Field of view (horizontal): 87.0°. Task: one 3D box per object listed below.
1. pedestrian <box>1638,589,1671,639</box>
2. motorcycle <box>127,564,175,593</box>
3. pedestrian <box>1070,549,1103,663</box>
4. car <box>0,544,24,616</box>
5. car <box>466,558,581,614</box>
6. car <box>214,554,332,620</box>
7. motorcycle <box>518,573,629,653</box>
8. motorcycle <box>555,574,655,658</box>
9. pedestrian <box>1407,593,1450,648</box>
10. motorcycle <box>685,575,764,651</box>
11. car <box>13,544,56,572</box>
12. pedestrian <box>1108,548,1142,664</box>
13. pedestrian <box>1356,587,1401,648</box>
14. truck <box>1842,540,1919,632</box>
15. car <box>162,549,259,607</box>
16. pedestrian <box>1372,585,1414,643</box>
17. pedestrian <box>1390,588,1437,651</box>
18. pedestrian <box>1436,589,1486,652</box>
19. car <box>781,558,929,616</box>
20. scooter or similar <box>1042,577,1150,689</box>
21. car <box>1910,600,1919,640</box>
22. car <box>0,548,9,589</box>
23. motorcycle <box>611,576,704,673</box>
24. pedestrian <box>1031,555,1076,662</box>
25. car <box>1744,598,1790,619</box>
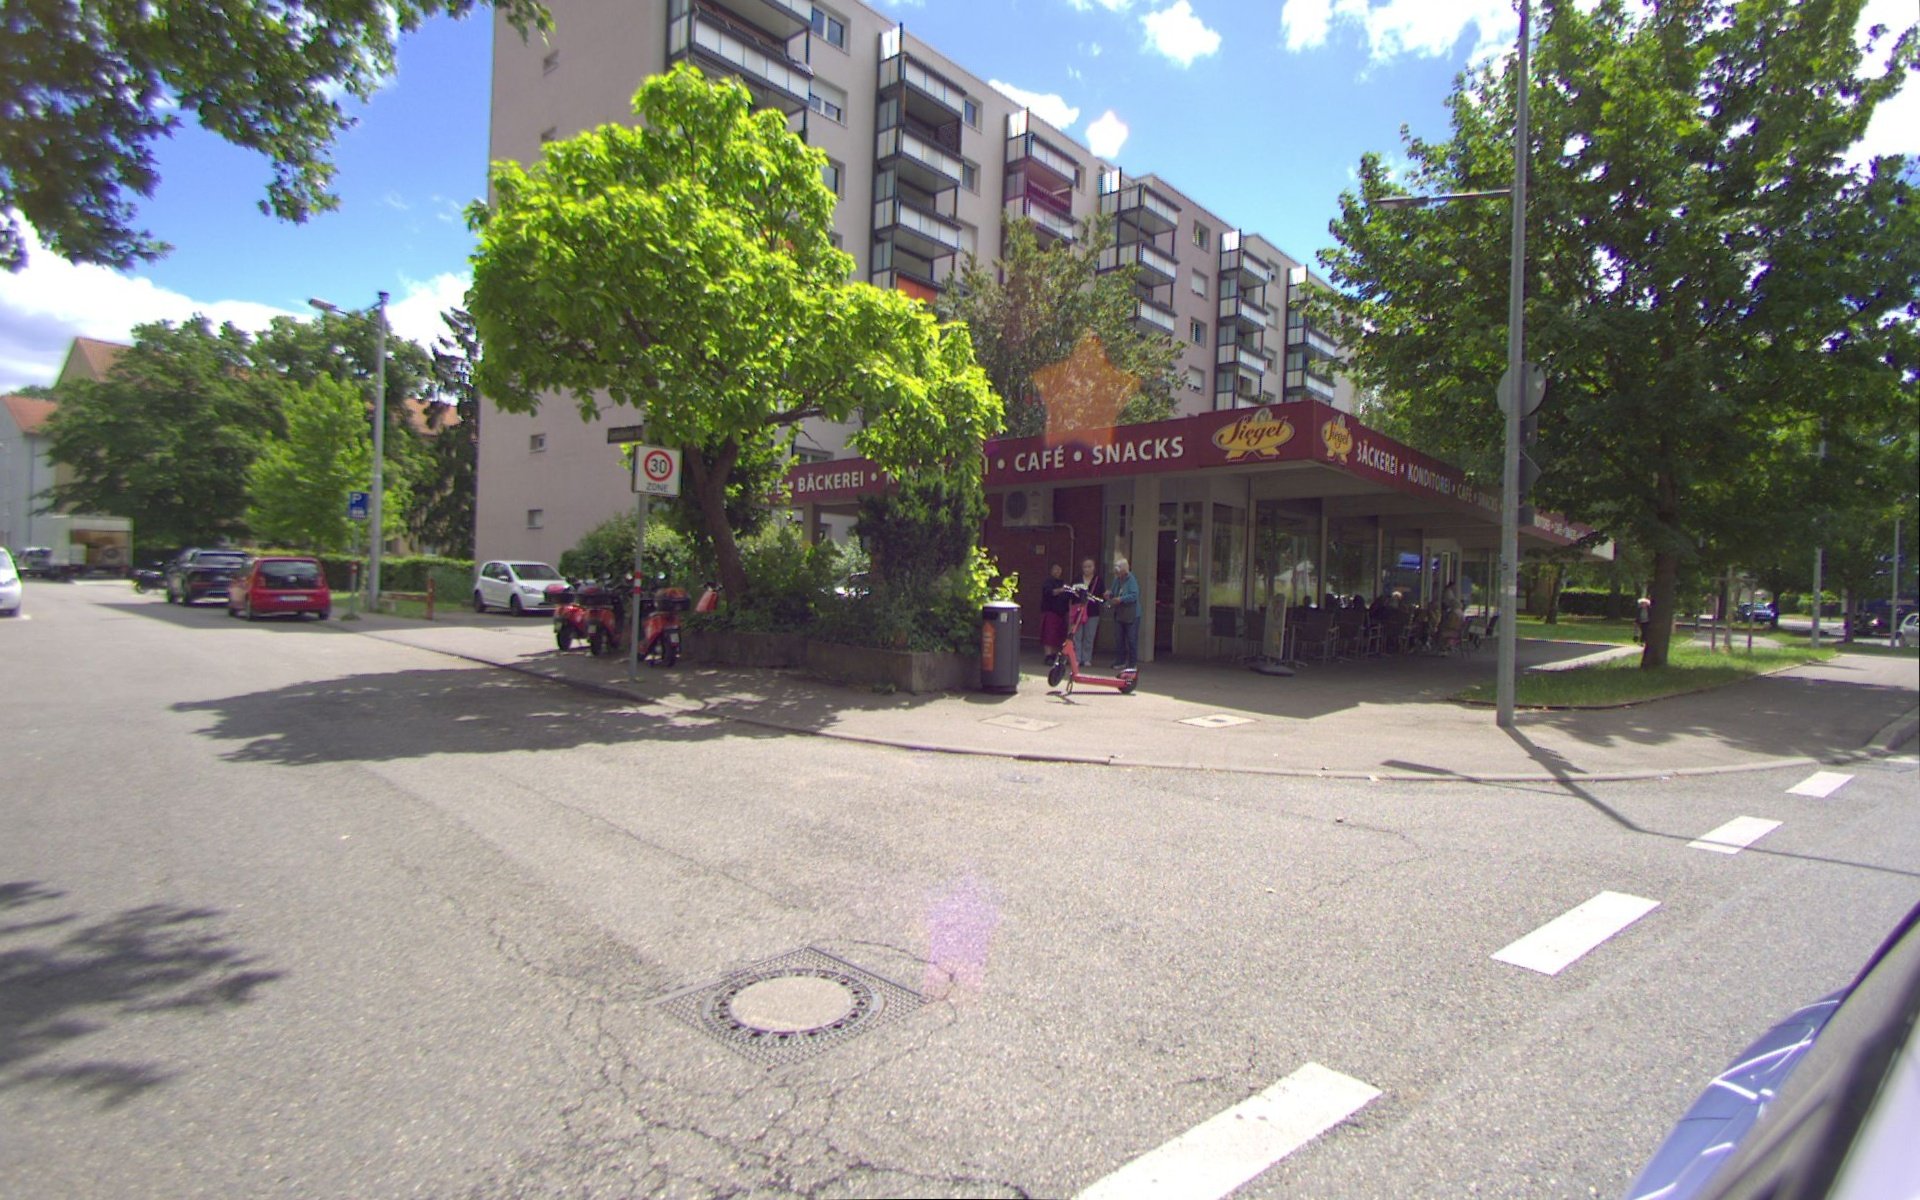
[{"bbox_3d":[21.991,0.435,32.042,0.643,1.557,0.725,1,1,-44],"label":"pedestrian"},{"bbox_3d":[-29.229,-0.776,36.572,1.326,1.029,0.526,0,1,-42],"label":"motorcycle"},{"bbox_3d":[1.870,0.079,14.975,0.436,1.652,0.399,1,1,9],"label":"pedestrian"},{"bbox_3d":[-21.479,-0.478,21.808,3.456,1.505,1.631,3,2,42],"label":"car"},{"bbox_3d":[-12.185,-0.415,28.168,3.478,1.456,1.722,2,1,44],"label":"car"},{"bbox_3d":[-16.387,-0.330,24.098,3.478,1.456,1.613,2,1,44],"label":"car"},{"bbox_3d":[-6.383,0.169,16.858,0.728,1.210,2.133,2,2,10],"label":"motorcycle"},{"bbox_3d":[-5.540,0.208,15.944,0.726,1.210,2.138,2,2,2],"label":"motorcycle"},{"bbox_3d":[10.587,0.449,22.878,0.671,1.165,0.668,5,3,40],"label":"pedestrian"},{"bbox_3d":[-4.035,0.183,17.547,0.726,1.210,2.137,2,1,4],"label":"motorcycle"},{"bbox_3d":[-52.169,-2.364,57.030,3.330,1.450,1.540,0,0,43],"label":"car"},{"bbox_3d":[2.410,0.082,14.803,0.436,1.652,0.399,1,1,9],"label":"pedestrian"},{"bbox_3d":[9.227,0.369,22.317,0.675,1.282,0.664,5,3,42],"label":"pedestrian"},{"bbox_3d":[46.005,-0.653,49.868,2.614,4.144,9.489,2,1,34],"label":"truck"},{"bbox_3d":[-21.698,-0.669,29.241,3.833,1.571,1.615,3,2,43],"label":"car"},{"bbox_3d":[10.010,0.309,23.385,0.671,1.282,0.668,5,3,40],"label":"pedestrian"},{"bbox_3d":[9.743,0.410,21.743,0.671,1.282,0.814,5,3,40],"label":"pedestrian"},{"bbox_3d":[10.746,0.431,21.717,0.661,1.282,0.678,1,3,-36],"label":"pedestrian"},{"bbox_3d":[-2.621,-0.312,25.672,1.743,1.359,3.435,2,1,43],"label":"car"},{"bbox_3d":[1.651,0.393,12.301,1.206,1.324,0.378,1,1,-8],"label":"scooter or similar"},{"bbox_3d":[37.431,0.803,37.763,1.744,1.542,3.792,2,1,25],"label":"car"},{"bbox_3d":[-35.521,-1.171,36.382,3.502,1.459,1.704,3,2,43],"label":"car"},{"bbox_3d":[-4.245,0.295,14.096,0.725,1.210,2.141,1,1,-30],"label":"motorcycle"},{"bbox_3d":[1.399,0.116,15.201,0.522,1.571,0.512,1,1,-9],"label":"pedestrian"},{"bbox_3d":[56.154,0.561,70.501,1.793,1.371,3.959,2,1,29],"label":"car"}]
